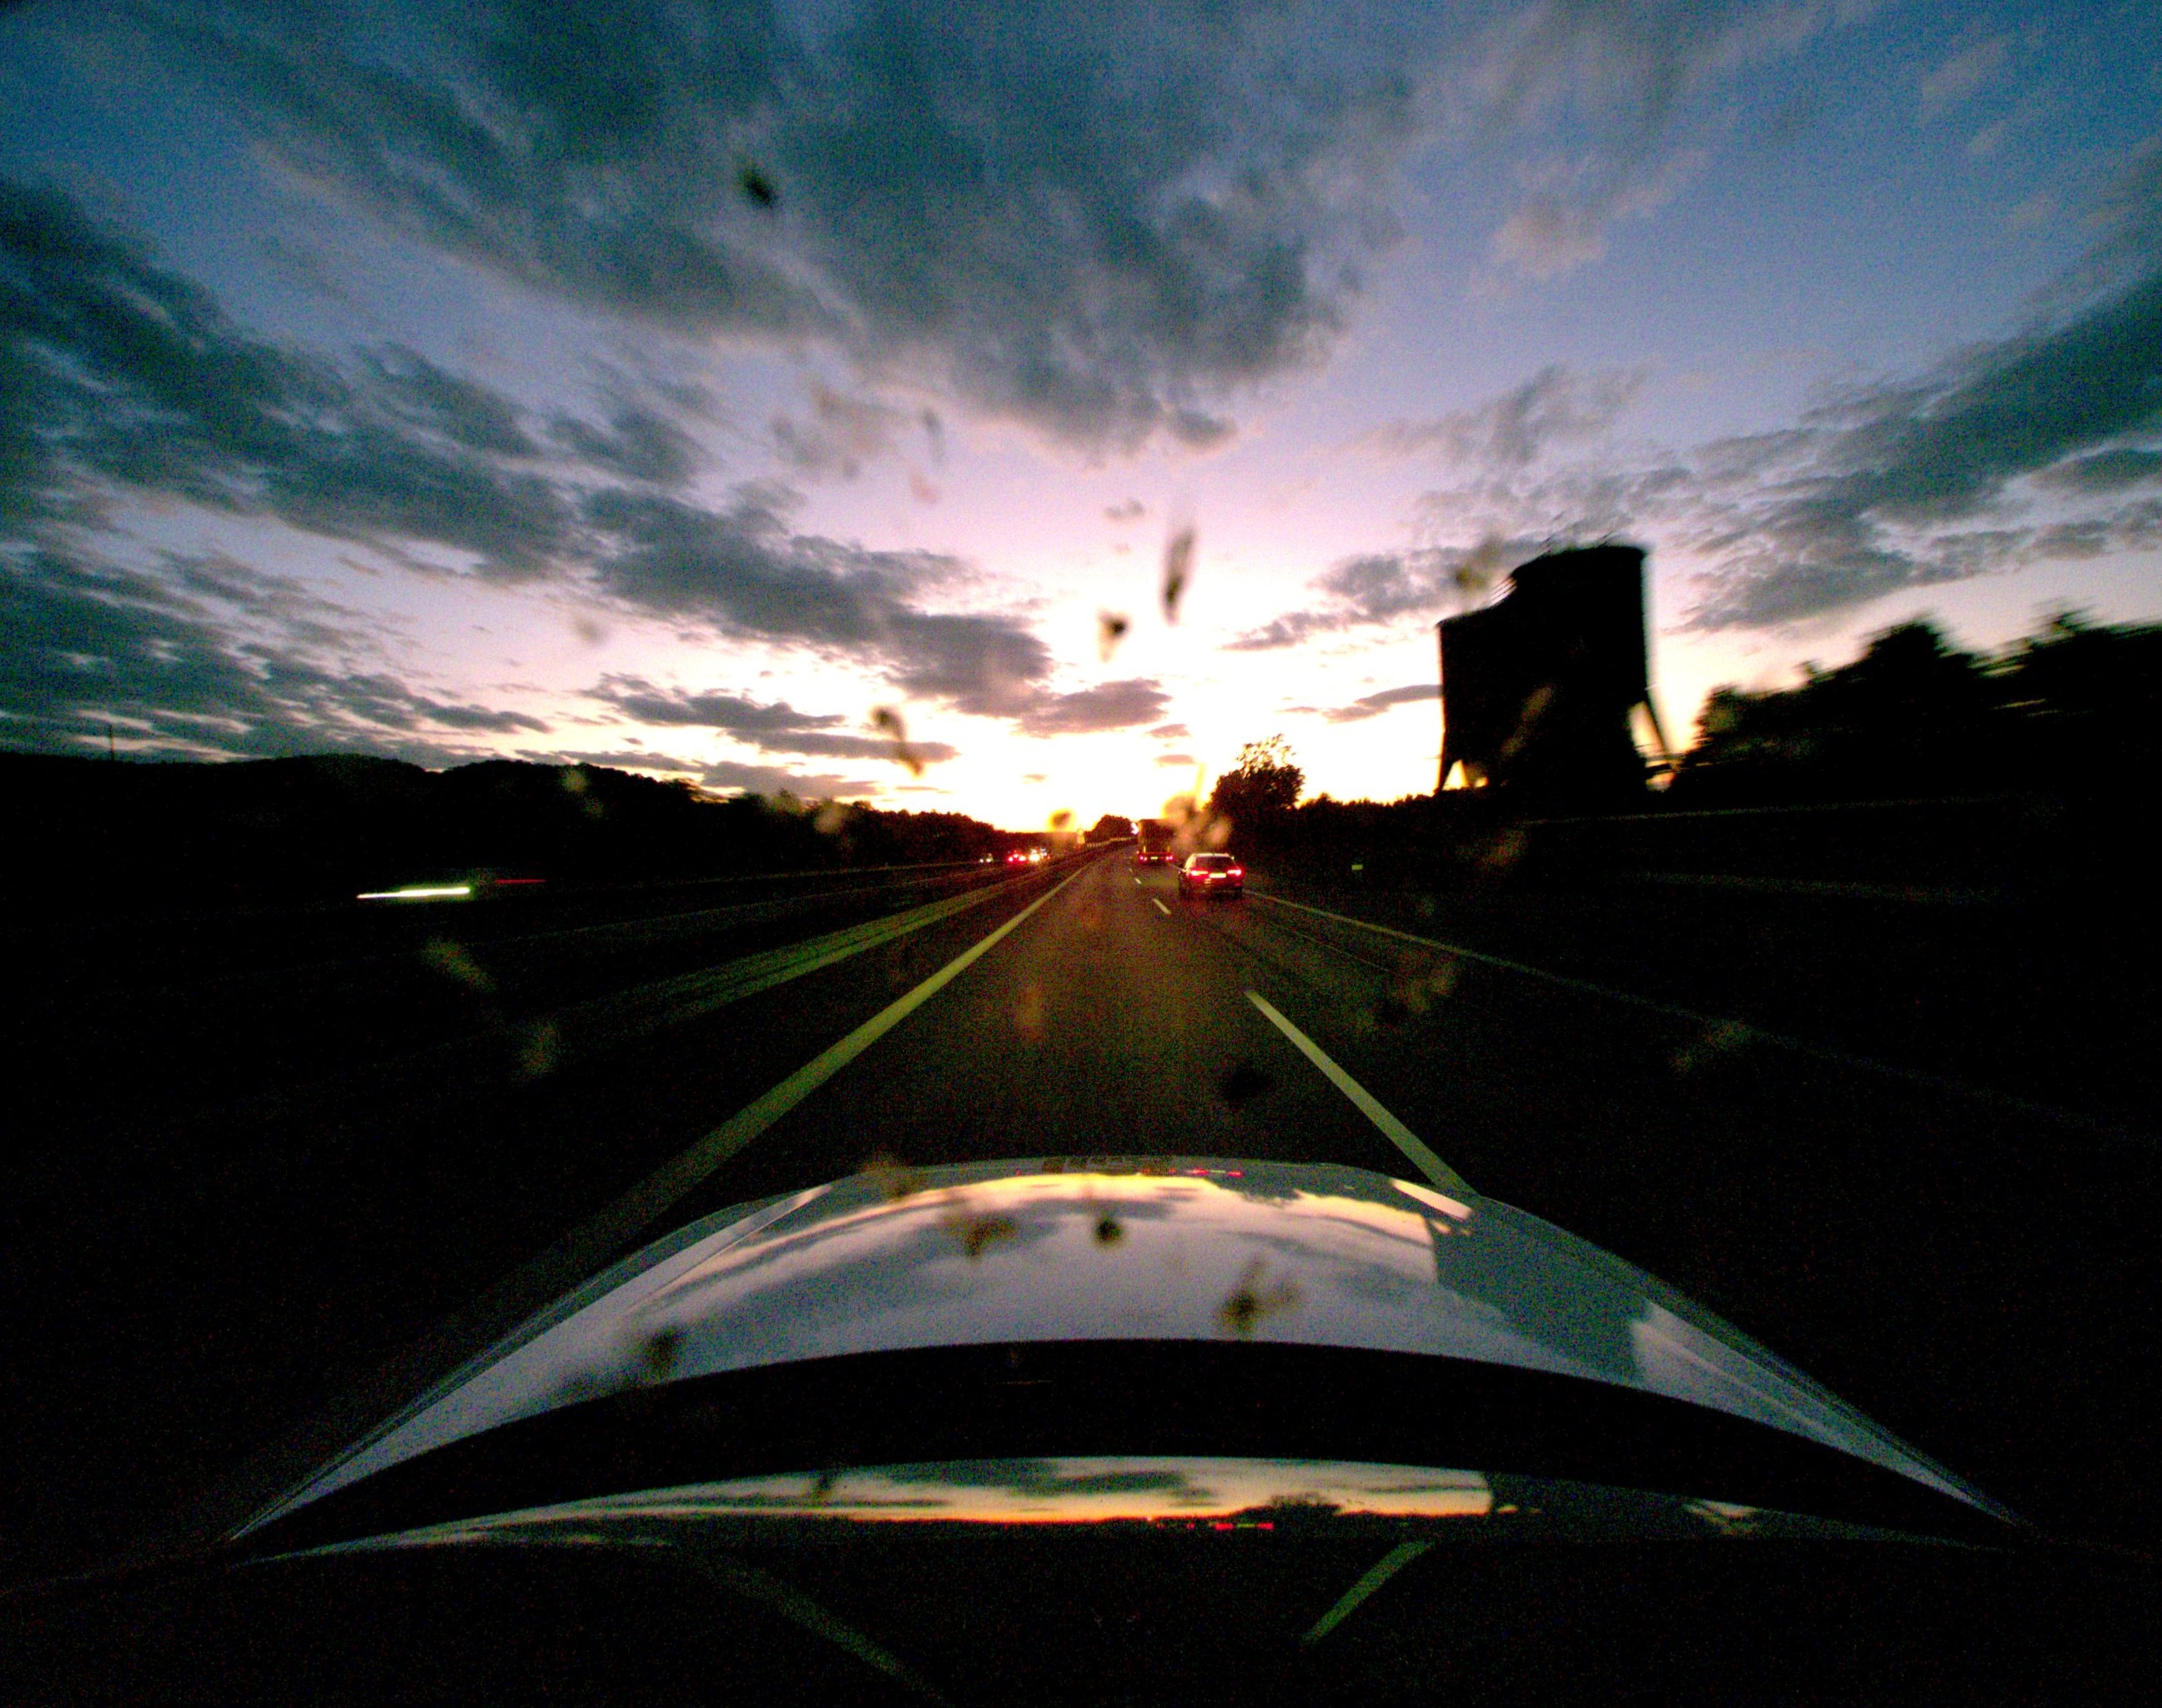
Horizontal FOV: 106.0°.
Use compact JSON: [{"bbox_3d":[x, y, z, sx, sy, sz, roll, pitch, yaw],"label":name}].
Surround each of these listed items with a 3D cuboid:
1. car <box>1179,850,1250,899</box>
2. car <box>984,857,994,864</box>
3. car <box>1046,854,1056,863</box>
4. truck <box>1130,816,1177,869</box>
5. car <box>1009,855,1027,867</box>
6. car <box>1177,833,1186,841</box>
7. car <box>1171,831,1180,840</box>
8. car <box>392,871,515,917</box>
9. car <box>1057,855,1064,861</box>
[{"bbox_3d":[4.448,0.658,27.643,1.907,1.442,4.003,-3,0,3],"label":"car"},{"bbox_3d":[-21.619,1.608,191.041,1.689,1.558,3.835,-3,0,3],"label":"car"},{"bbox_3d":[-6.268,0.930,168.361,1.706,1.605,3.723,-3,0,2],"label":"car"},{"bbox_3d":[6.507,-0.986,74.635,3.497,4.301,9.894,-3,0,1],"label":"truck"},{"bbox_3d":[-8.407,0.913,109.493,1.865,1.561,4.521,-3,0,1],"label":"car"},{"bbox_3d":[26.069,-4.387,210.624,1.893,2.013,3.862,-1,0,2],"label":"car"},{"bbox_3d":[25.088,-4.892,216.393,1.754,2.013,3.519,-3,0,2],"label":"car"},{"bbox_3d":[-23.436,1.459,30.599,1.662,1.494,3.675,-1,0,2],"label":"car"},{"bbox_3d":[-5.441,0.959,215.314,1.632,1.546,3.396,-3,0,2],"label":"car"}]
